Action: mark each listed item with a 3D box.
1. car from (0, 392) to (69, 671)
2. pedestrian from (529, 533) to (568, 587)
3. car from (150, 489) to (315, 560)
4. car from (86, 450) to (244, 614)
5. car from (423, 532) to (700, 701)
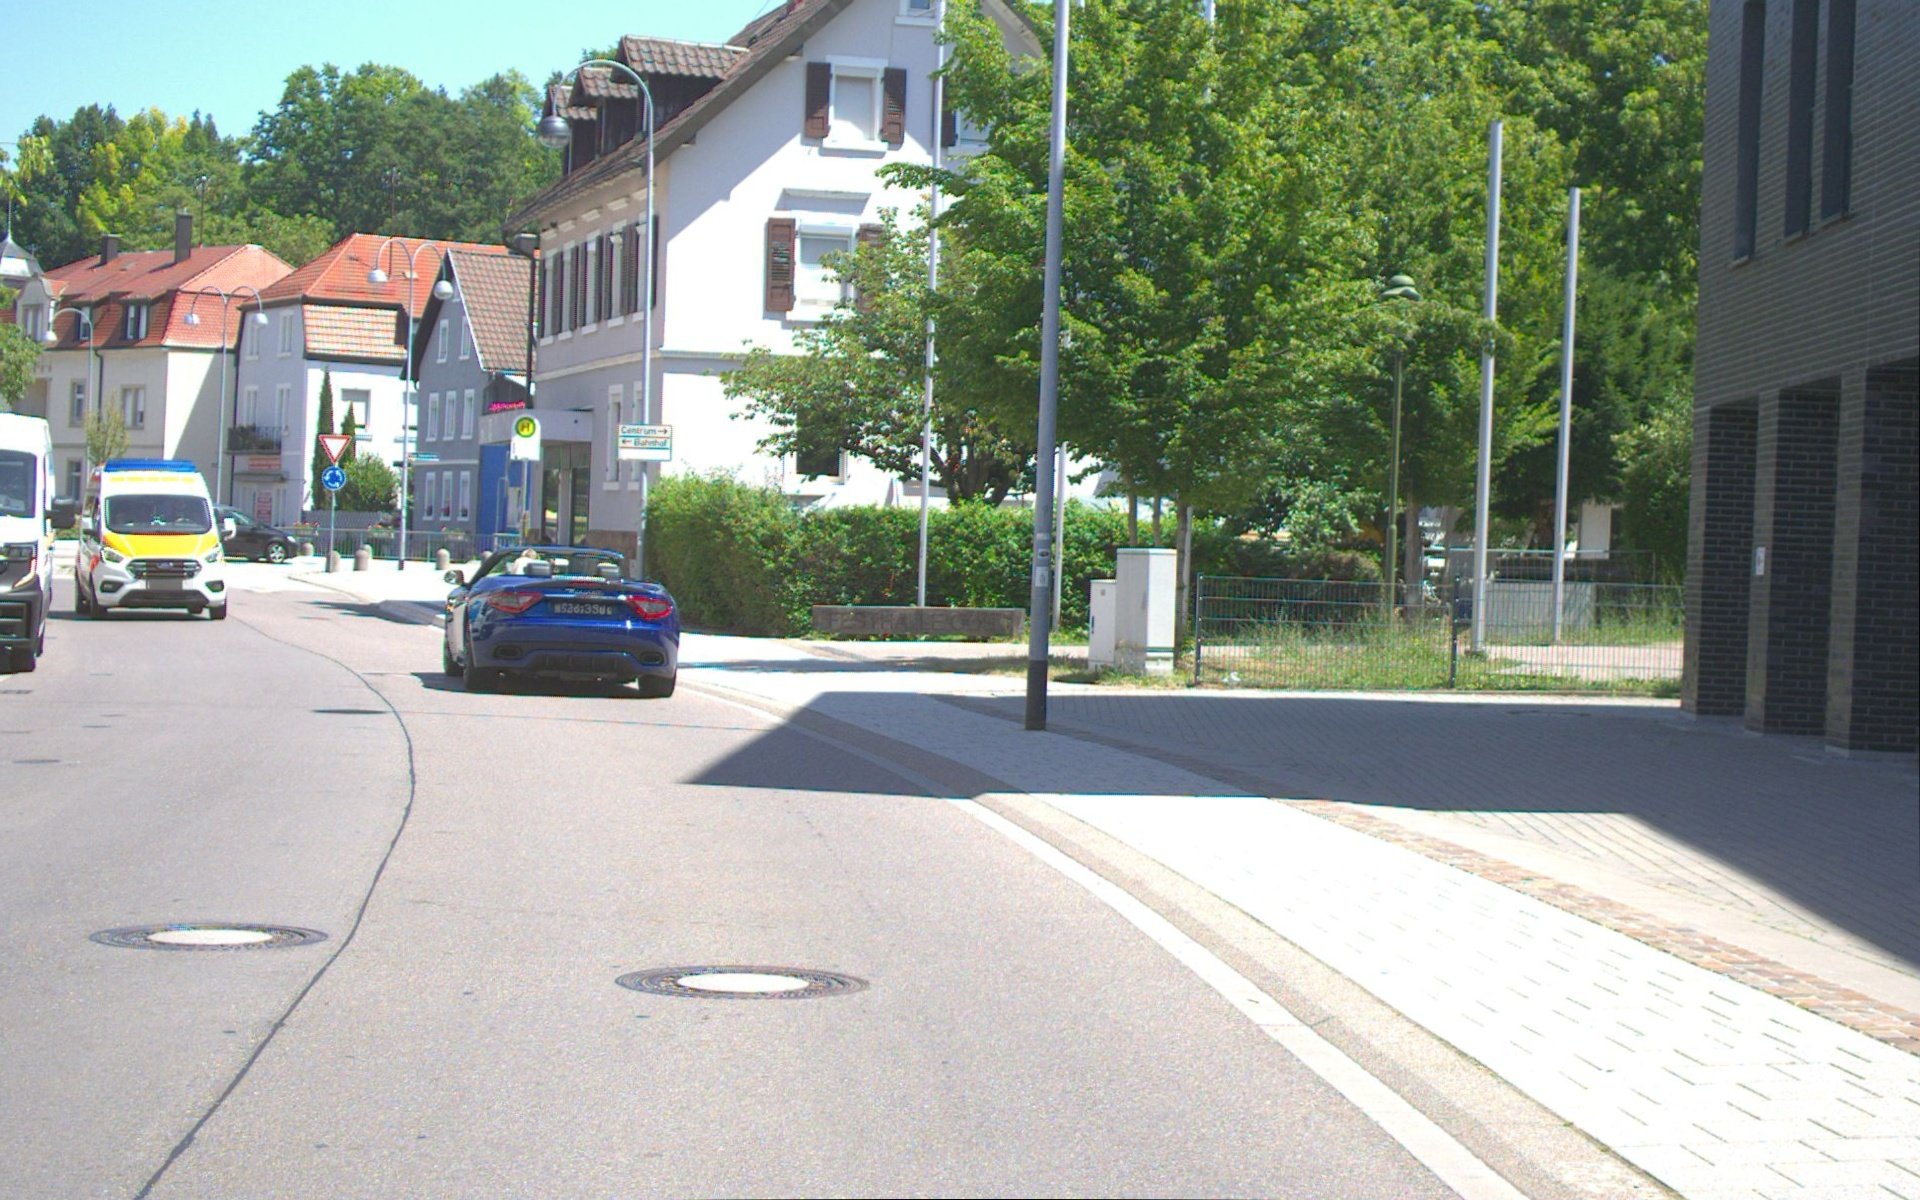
[{"bbox_3d":[-9.872,-0.735,33.472,2.091,2.489,5.505,4,0,-14],"label":"car"},{"bbox_3d":[-7.704,-0.747,64.357,0.590,0.996,0.724,1,1,-17],"label":"pedestrian"},{"bbox_3d":[-19.762,-2.054,93.451,3.987,1.744,1.919,3,1,2],"label":"car"},{"bbox_3d":[-12.250,-1.059,52.759,2.155,2.354,5.249,1,1,-15],"label":"car"},{"bbox_3d":[-3.796,0.109,32.112,1.910,1.356,4.287,3,1,-15],"label":"car"}]
